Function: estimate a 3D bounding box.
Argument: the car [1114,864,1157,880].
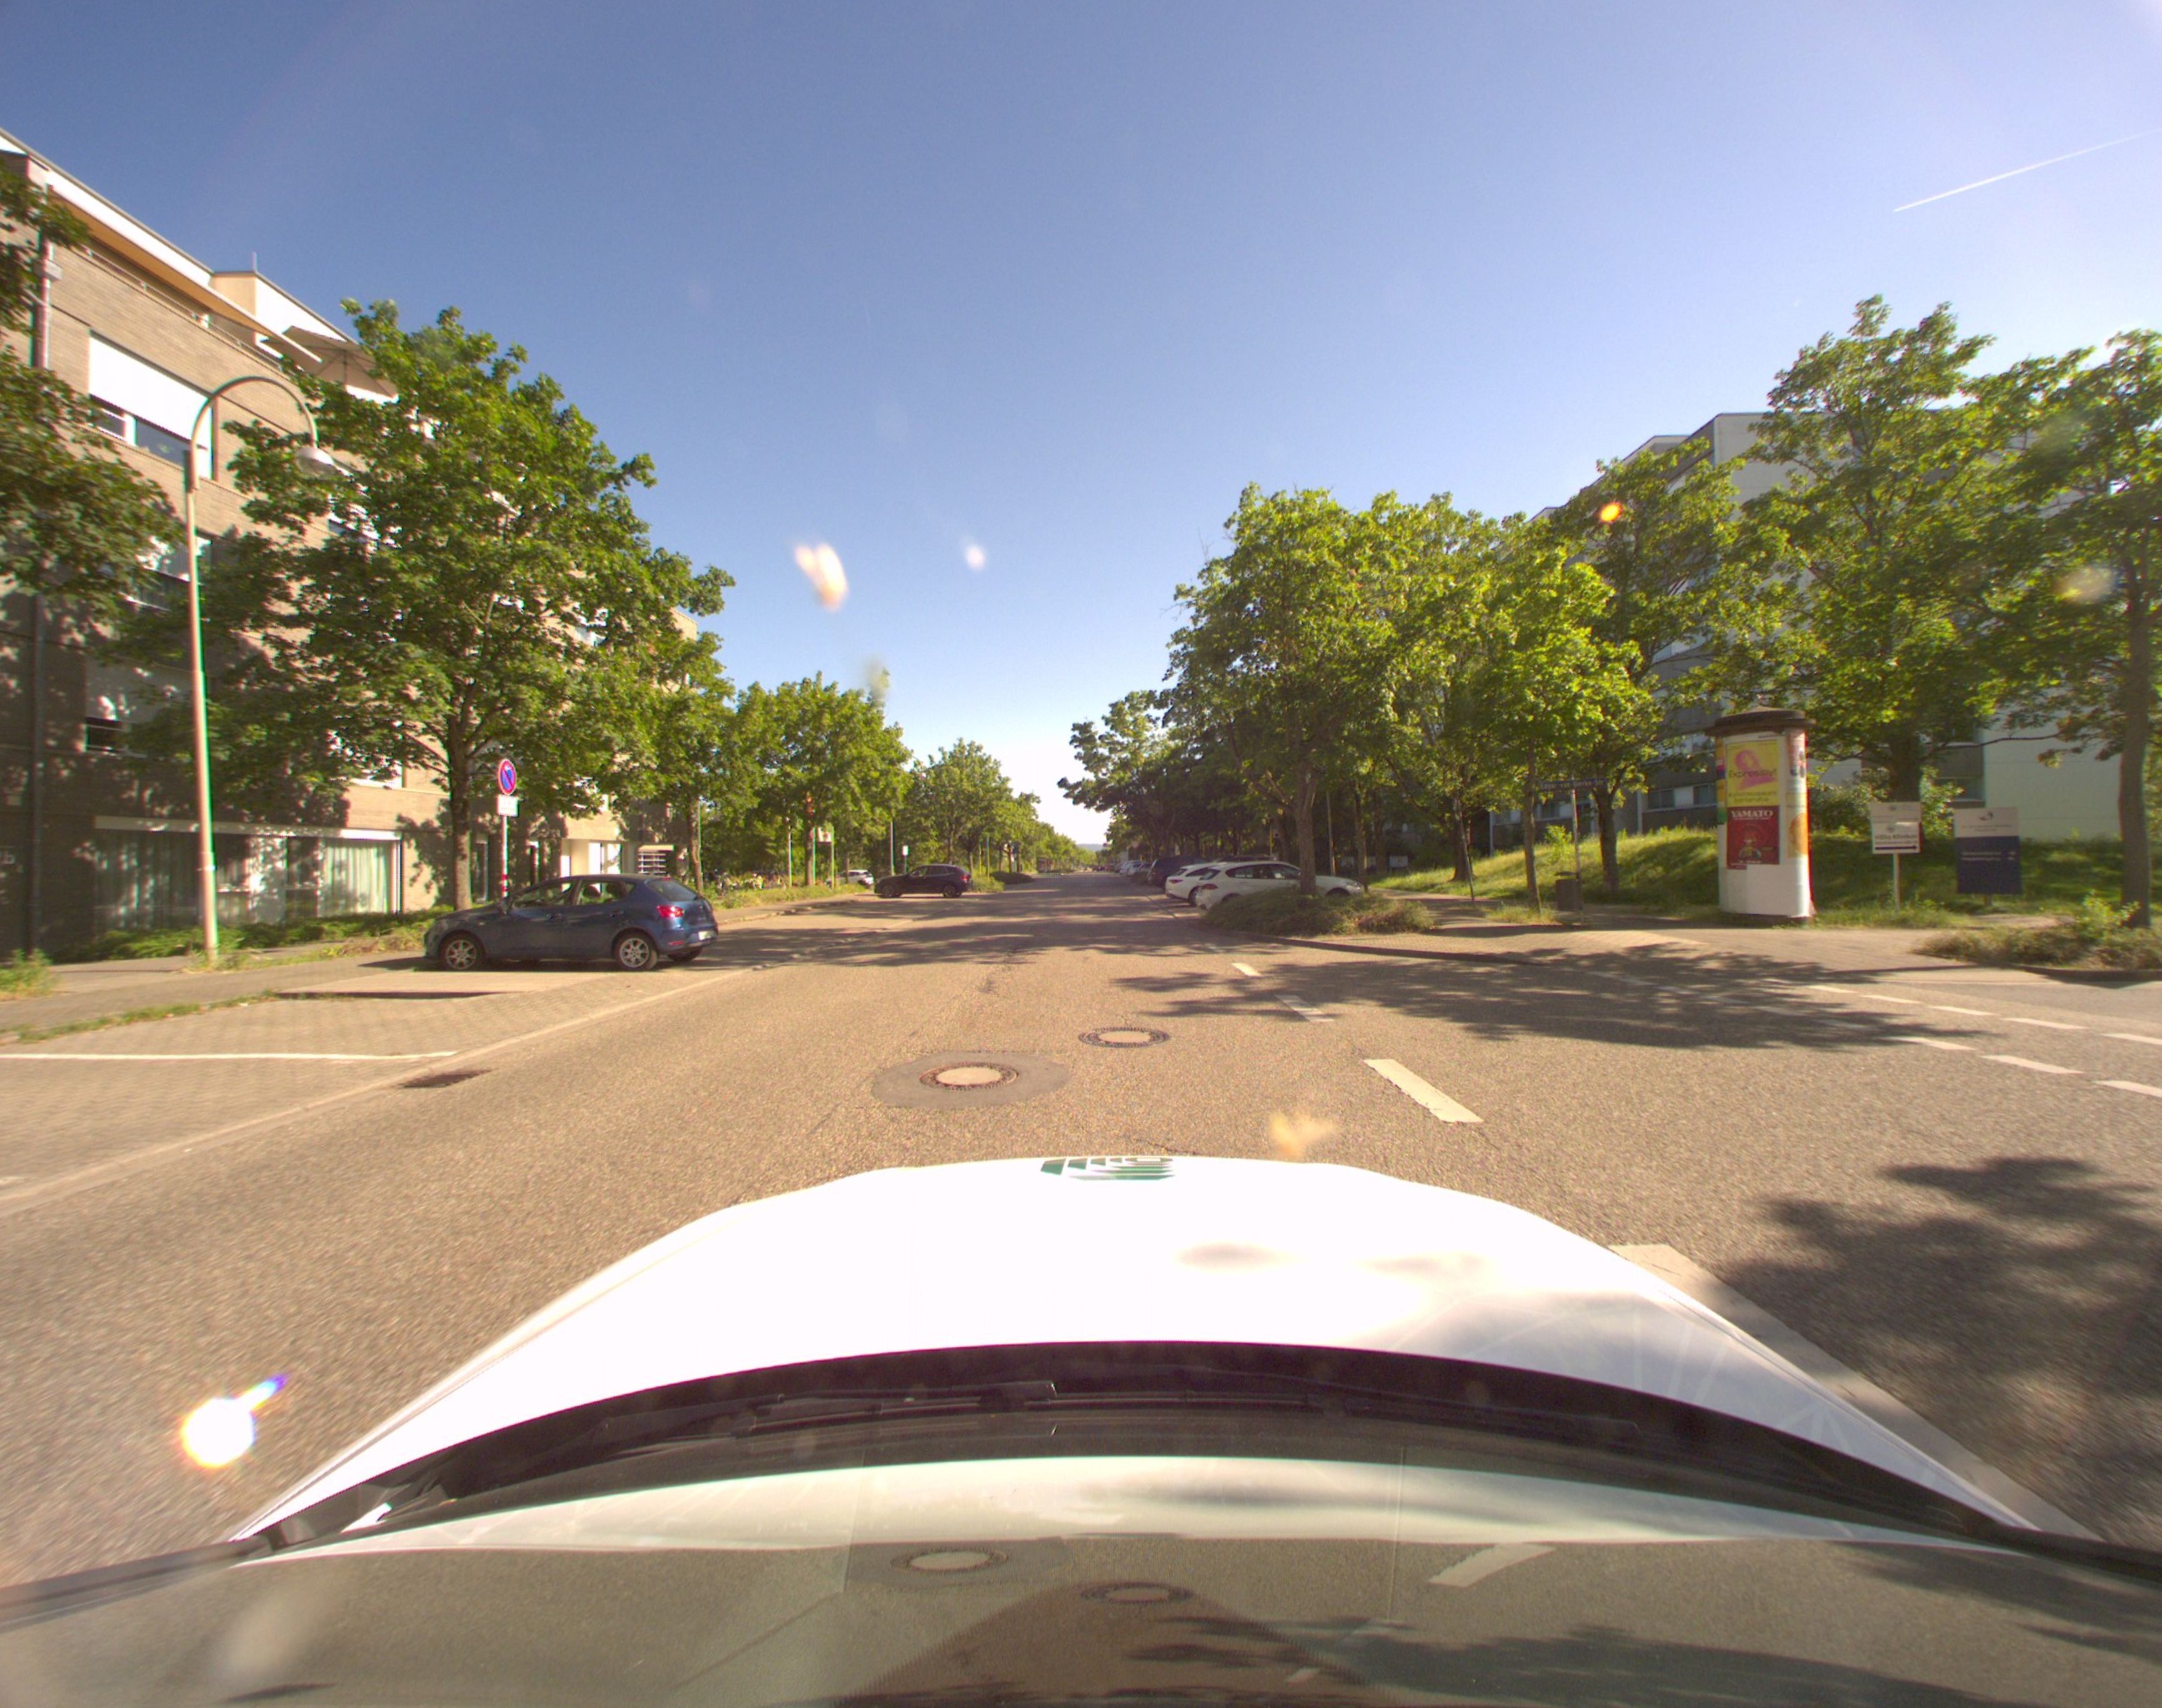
[{"bbox_3d":[5.754,1.881,85.863,4.330,1.489,1.737,-3,-1,-1],"label":"car"}]

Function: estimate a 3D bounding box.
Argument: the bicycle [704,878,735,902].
[{"bbox_3d":[-17.001,1.683,38.372,0.435,1.047,2.193,0,-1,1],"label":"bicycle"}]

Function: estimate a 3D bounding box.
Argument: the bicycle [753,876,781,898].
[{"bbox_3d":[-15.377,1.614,39.932,0.435,1.047,2.193,0,-1,1],"label":"bicycle"}]

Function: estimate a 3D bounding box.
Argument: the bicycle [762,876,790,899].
[{"bbox_3d":[-14.352,1.569,38.413,0.435,1.047,2.193,0,-1,1],"label":"bicycle"}]

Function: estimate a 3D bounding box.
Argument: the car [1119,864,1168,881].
[{"bbox_3d":[5.549,1.646,71.990,4.253,1.428,1.830,-1,-1,5],"label":"car"}]

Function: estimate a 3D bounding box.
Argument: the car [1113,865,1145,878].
[{"bbox_3d":[6.516,2.341,110.220,4.150,1.428,2.000,-4,-1,0],"label":"car"}]

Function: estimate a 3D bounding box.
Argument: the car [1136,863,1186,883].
[{"bbox_3d":[6.572,1.558,67.148,3.973,1.451,1.717,-3,-1,1],"label":"car"}]

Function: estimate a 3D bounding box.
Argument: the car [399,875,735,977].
[{"bbox_3d":[-7.730,1.043,12.585,3.977,1.412,1.815,0,-1,-3],"label":"car"}]

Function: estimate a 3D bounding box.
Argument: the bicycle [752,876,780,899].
[{"bbox_3d":[-14.833,1.573,38.410,0.435,1.047,2.193,0,-1,1],"label":"bicycle"}]

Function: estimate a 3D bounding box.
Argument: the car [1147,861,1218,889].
[{"bbox_3d":[6.017,1.243,48.723,3.973,1.387,1.822,-4,-1,1],"label":"car"}]

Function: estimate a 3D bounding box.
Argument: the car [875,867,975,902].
[{"bbox_3d":[-7.075,1.384,37.218,4.177,1.520,1.772,0,-1,1],"label":"car"}]

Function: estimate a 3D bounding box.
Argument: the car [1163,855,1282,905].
[{"bbox_3d":[5.285,0.978,30.719,4.106,1.618,1.732,-3,-2,-1],"label":"car"}]

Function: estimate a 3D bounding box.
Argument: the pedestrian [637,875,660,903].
[{"bbox_3d":[-21.379,1.734,40.267,0.665,1.361,0.745,-2,-1,2],"label":"pedestrian"}]

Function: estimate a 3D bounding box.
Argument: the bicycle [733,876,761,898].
[{"bbox_3d":[-16.386,1.601,39.969,0.435,1.047,2.193,0,-1,1],"label":"bicycle"}]

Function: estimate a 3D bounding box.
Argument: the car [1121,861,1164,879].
[{"bbox_3d":[6.631,1.698,88.559,4.422,1.647,1.815,-4,-1,-1],"label":"car"}]

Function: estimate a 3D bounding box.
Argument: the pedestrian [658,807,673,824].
[{"bbox_3d":[-17.813,-1.662,34.910,0.415,0.686,0.426,0,-1,-8],"label":"pedestrian"}]

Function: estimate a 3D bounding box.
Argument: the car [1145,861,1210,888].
[{"bbox_3d":[6.065,1.296,51.505,3.799,1.499,1.700,-3,-1,-3],"label":"car"}]

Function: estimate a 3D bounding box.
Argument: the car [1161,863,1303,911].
[{"bbox_3d":[5.022,1.095,27.482,4.430,1.545,1.816,0,-1,-2],"label":"car"}]

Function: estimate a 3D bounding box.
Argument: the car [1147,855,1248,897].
[{"bbox_3d":[5.594,1.065,39.491,4.570,1.779,2.000,-3,-1,1],"label":"car"}]

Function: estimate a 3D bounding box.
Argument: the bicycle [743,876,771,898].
[{"bbox_3d":[-15.894,1.606,39.946,0.435,1.047,2.193,0,-1,1],"label":"bicycle"}]

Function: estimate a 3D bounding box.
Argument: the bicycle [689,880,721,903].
[{"bbox_3d":[-17.811,1.755,38.651,0.435,1.047,2.193,0,-1,1],"label":"bicycle"}]

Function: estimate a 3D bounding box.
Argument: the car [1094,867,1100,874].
[{"bbox_3d":[4.785,5.012,242.676,1.986,2.014,4.001,0,-1,1],"label":"car"}]

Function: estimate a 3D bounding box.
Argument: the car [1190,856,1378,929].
[{"bbox_3d":[5.223,0.973,21.360,4.415,1.593,1.835,-3,-1,-2],"label":"car"}]

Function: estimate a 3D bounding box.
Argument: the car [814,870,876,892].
[{"bbox_3d":[-17.578,2.001,60.822,4.061,1.451,1.625,-3,-1,2],"label":"car"}]
